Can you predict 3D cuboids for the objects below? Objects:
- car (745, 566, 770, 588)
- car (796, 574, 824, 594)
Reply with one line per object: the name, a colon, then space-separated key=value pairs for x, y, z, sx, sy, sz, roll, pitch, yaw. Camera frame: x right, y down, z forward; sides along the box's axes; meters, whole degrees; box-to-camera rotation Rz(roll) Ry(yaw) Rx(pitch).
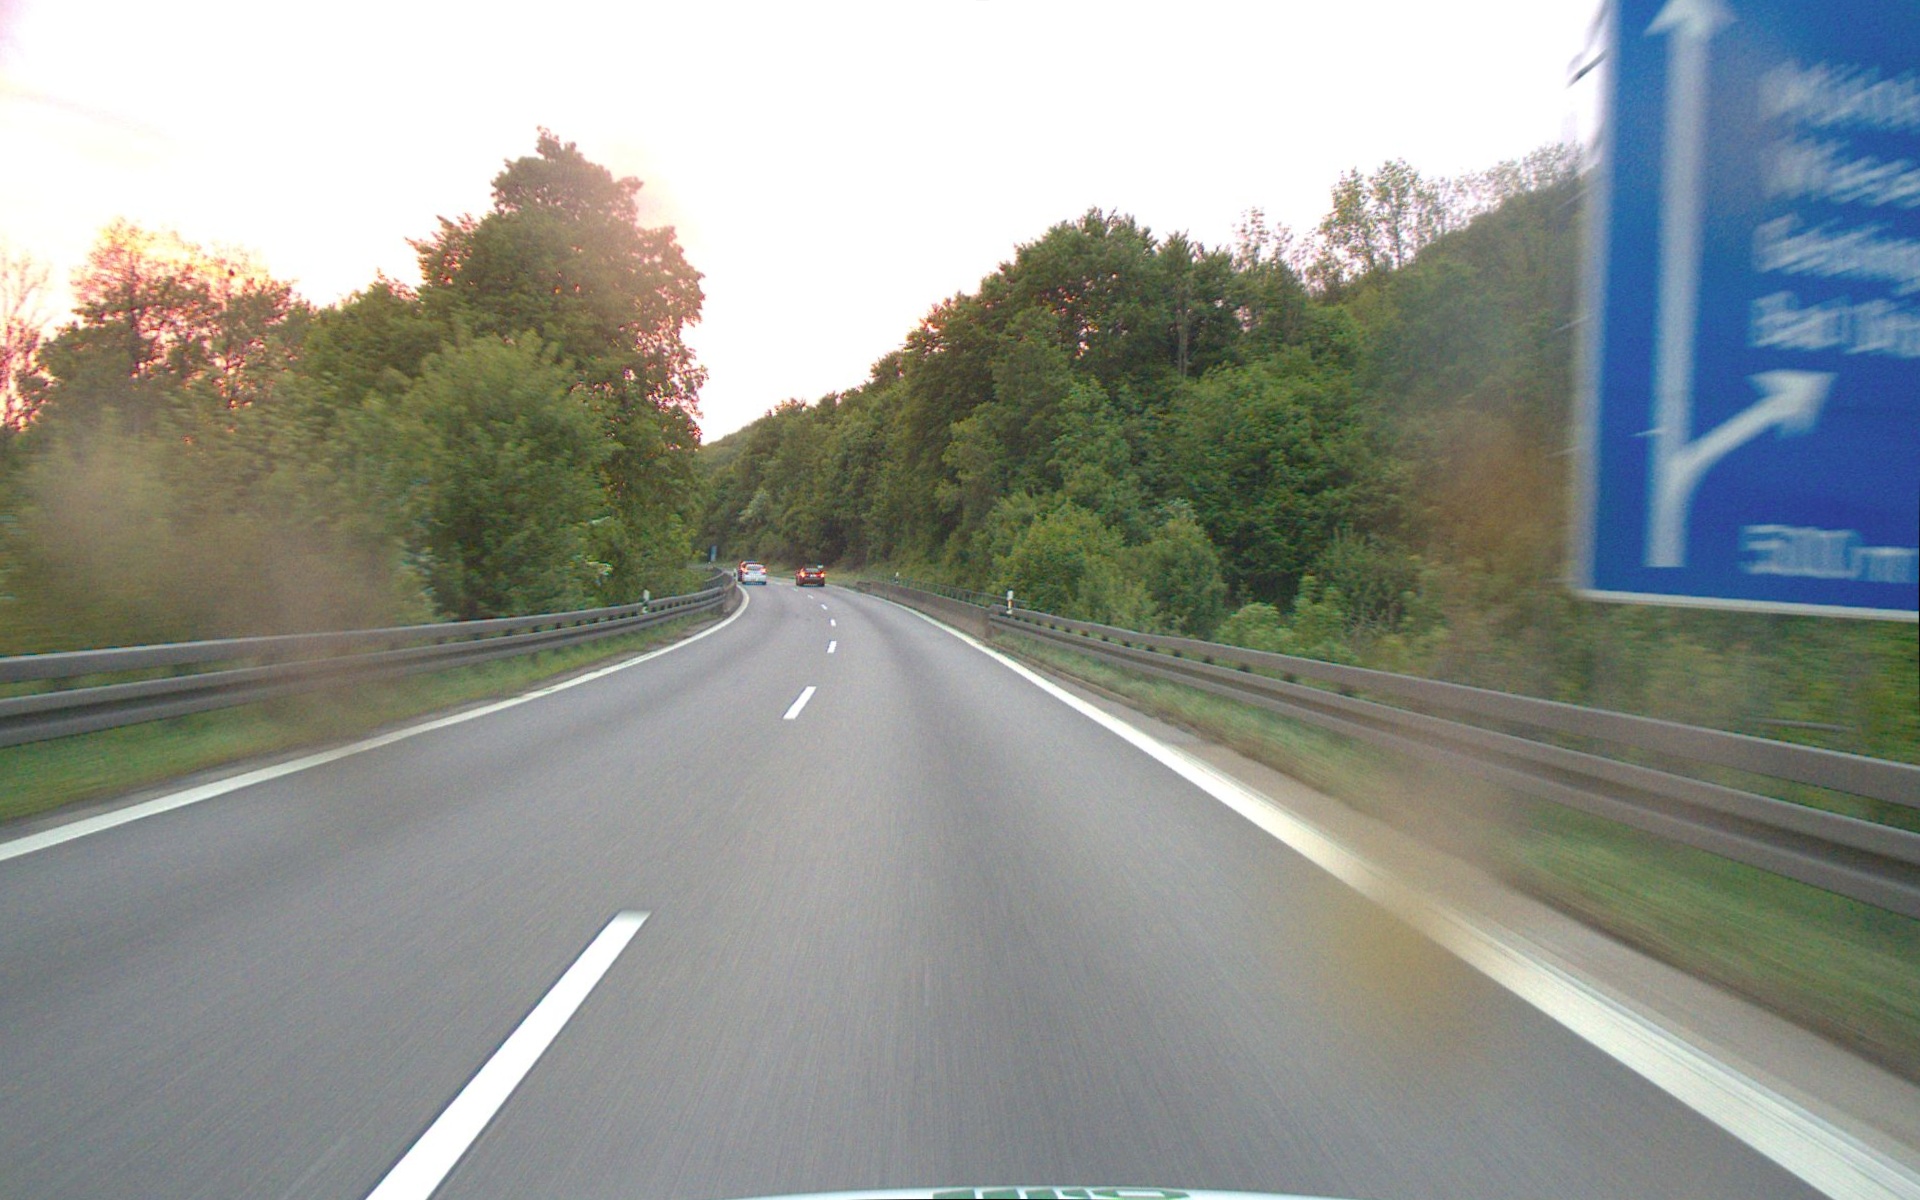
car: x=-15.162 y=-1.703 z=123.905 sx=1.685 sy=1.528 sz=3.995 roll=2 pitch=-1 yaw=-6
car: x=-11.050 y=-1.173 z=122.048 sx=1.840 sy=1.492 sz=3.998 roll=0 pitch=0 yaw=-2
